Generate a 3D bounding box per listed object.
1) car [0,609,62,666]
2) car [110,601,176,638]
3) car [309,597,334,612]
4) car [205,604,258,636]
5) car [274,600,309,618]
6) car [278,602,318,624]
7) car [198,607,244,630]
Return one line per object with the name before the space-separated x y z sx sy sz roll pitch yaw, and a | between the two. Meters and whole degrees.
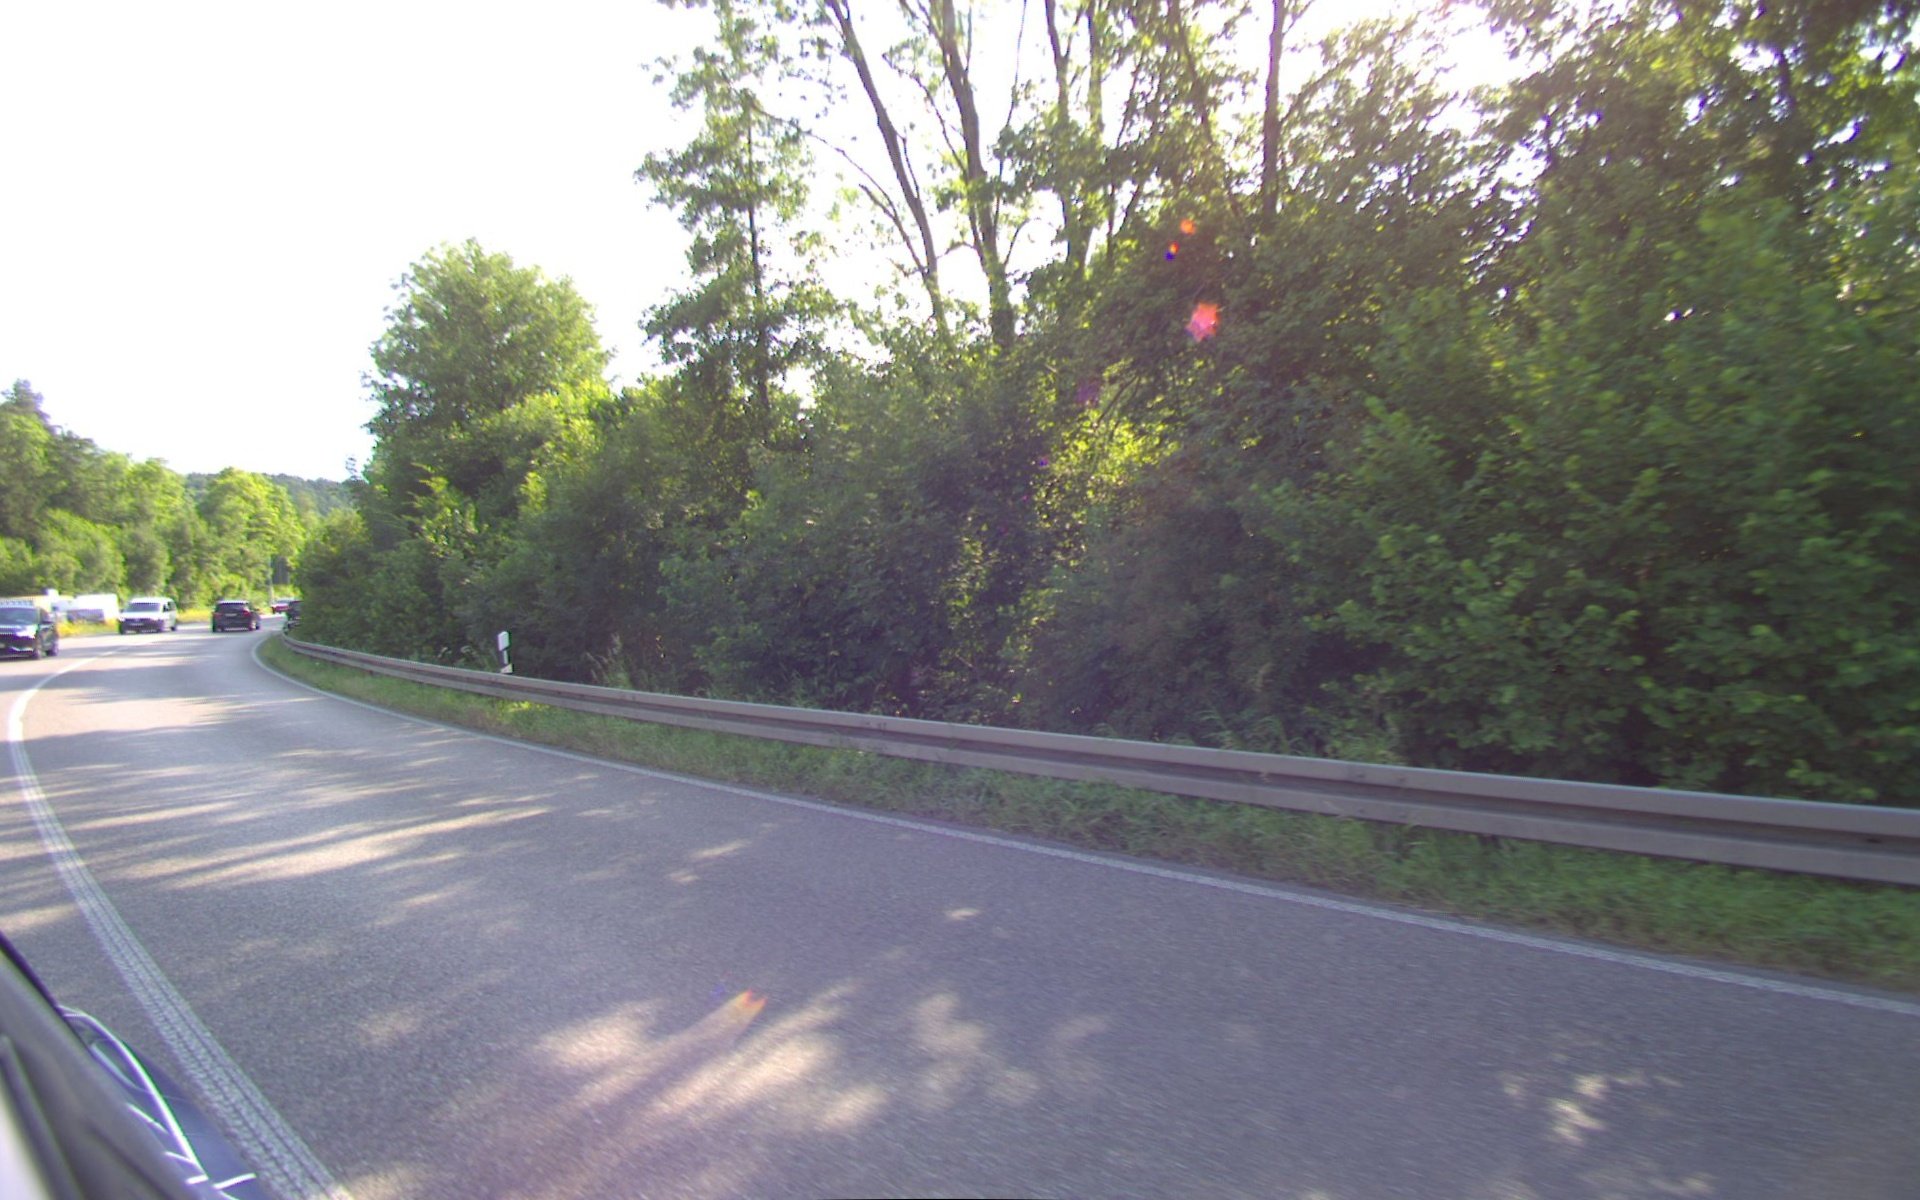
car | -28.774 1.090 30.506 1.819 1.581 4.269 -1 1 -32
car | -42.439 0.984 52.692 1.837 1.733 4.778 -3 2 -29
car | -71.754 0.514 113.710 1.884 1.476 4.552 -4 2 -27
car | -38.267 1.019 53.231 1.841 1.601 4.261 0 0 -30
car | -63.138 0.840 95.626 1.829 1.431 4.434 -3 2 -22
car | -47.336 0.918 72.402 1.824 1.519 4.418 0 0 -26
car | -53.283 1.304 73.035 1.865 1.456 4.490 -3 2 -27
